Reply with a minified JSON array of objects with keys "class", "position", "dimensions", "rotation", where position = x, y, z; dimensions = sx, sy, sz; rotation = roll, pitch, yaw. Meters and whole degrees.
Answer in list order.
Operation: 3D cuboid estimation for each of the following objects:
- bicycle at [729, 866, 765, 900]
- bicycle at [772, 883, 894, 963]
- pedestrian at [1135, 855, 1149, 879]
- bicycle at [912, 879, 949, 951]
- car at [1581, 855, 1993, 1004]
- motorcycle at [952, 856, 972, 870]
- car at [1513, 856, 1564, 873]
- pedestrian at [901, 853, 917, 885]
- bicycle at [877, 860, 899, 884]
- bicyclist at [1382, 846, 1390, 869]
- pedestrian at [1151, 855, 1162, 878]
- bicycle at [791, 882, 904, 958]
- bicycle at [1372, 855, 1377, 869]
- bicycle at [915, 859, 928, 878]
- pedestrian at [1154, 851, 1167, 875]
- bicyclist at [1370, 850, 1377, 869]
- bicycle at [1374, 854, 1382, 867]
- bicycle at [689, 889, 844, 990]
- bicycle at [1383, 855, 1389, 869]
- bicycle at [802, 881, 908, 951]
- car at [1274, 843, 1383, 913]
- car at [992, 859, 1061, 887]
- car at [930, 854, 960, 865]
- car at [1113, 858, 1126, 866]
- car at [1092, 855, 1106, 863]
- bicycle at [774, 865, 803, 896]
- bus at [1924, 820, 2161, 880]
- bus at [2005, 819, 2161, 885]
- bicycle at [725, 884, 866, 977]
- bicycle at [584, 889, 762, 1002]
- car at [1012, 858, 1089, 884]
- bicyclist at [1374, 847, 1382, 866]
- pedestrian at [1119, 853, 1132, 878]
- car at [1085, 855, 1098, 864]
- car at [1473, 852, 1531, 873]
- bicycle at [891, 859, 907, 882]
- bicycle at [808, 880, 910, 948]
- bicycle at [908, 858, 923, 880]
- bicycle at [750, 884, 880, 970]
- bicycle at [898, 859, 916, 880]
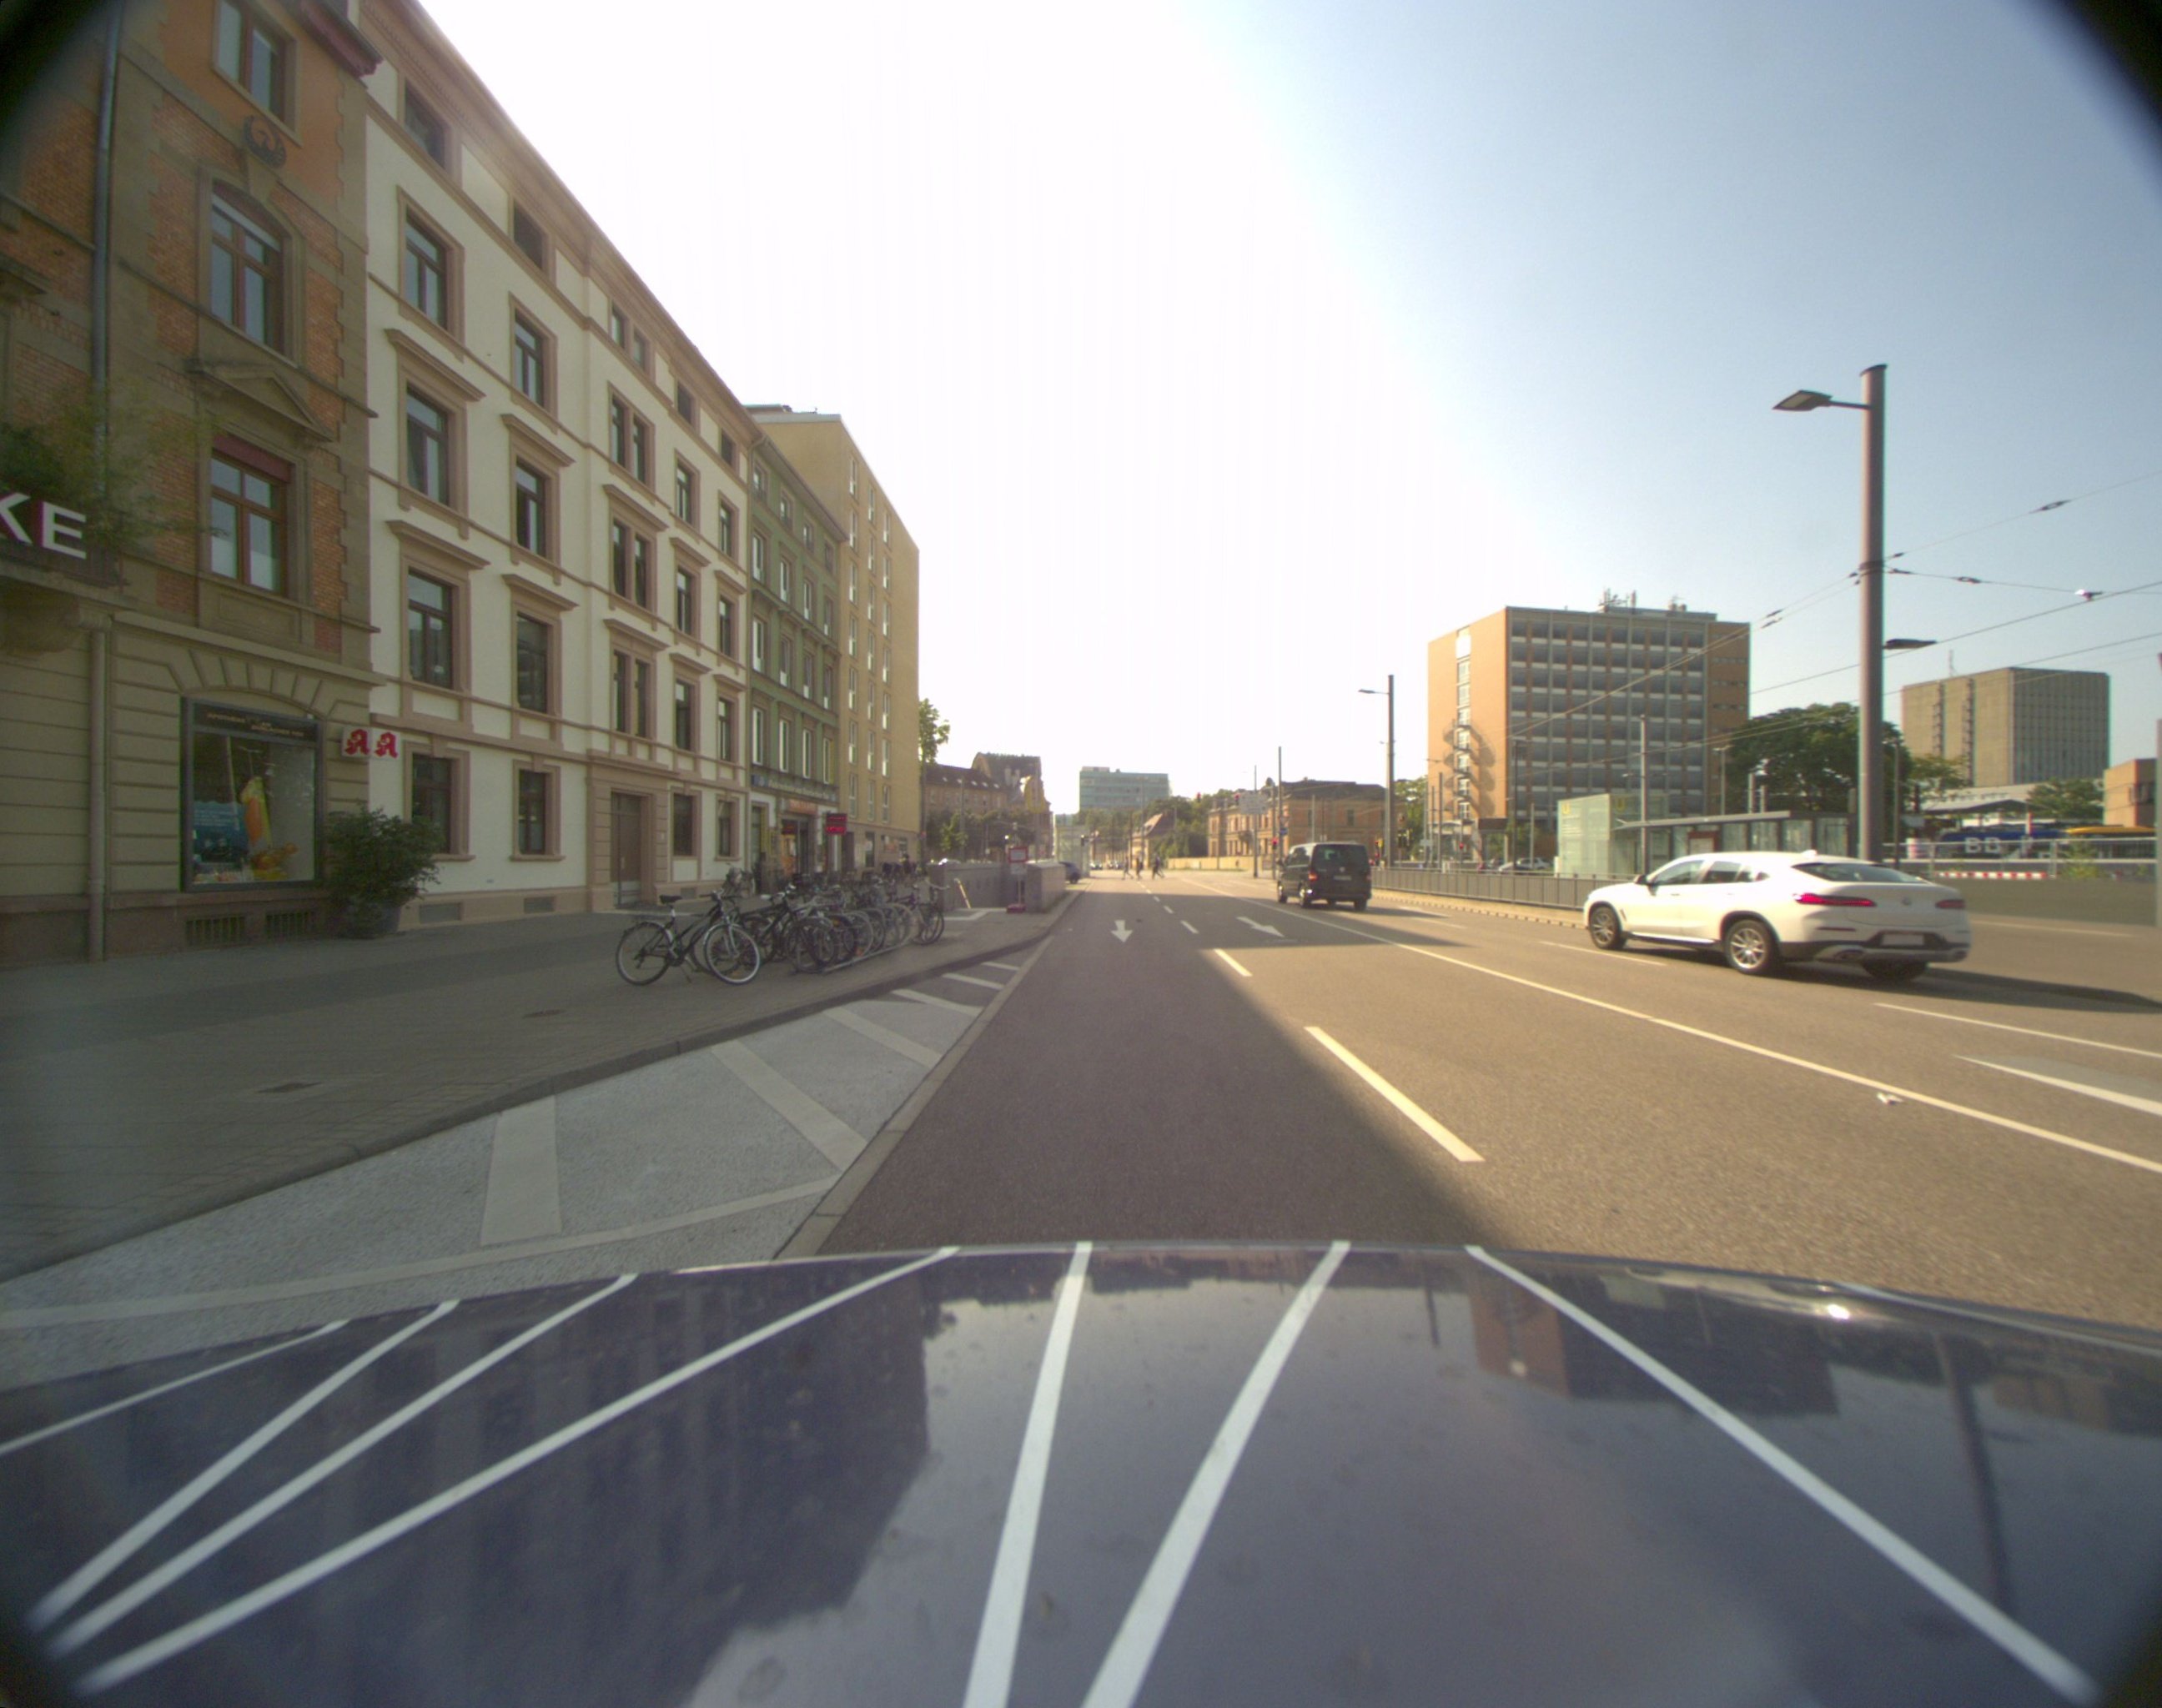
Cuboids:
[{"class":"bicycle","position":[-11.509,0.981,26.238],"dimensions":[0.384,1.127,1.720],"rotation":[0,0,3]},{"class":"bicycle","position":[-3.604,0.997,11.093],"dimensions":[1.637,1.142,0.385],"rotation":[0,1,-2]},{"class":"pedestrian","position":[4.098,0.878,51.039],"dimensions":[0.809,1.539,0.548],"rotation":[3,1,4]},{"class":"bicycle","position":[-2.640,1.039,13.444],"dimensions":[0.408,1.142,1.655],"rotation":[0,0,-3]},{"class":"car","position":[9.378,0.850,10.760],"dimensions":[1.717,1.602,4.505],"rotation":[1,0,2]},{"class":"motorcycle","position":[-9.921,0.783,63.536],"dimensions":[0.704,1.140,2.304],"rotation":[0,0,18]},{"class":"car","position":[47.849,1.114,79.534],"dimensions":[4.280,1.696,1.956],"rotation":[0,-2,19]},{"class":"pedestrian","position":[-8.827,0.763,39.037],"dimensions":[0.610,1.620,0.737],"rotation":[0,1,3]},{"class":"bicycle","position":[-10.518,0.981,41.409],"dimensions":[0.604,1.254,1.998],"rotation":[0,0,2]},{"class":"bicyclist","position":[26.980,0.307,67.172],"dimensions":[0.580,1.963,0.809],"rotation":[0,0,17]},{"class":"pedestrian","position":[5.272,0.876,53.042],"dimensions":[0.634,1.588,0.468],"rotation":[3,1,1]},{"class":"bicycle","position":[-3.610,1.009,11.793],"dimensions":[1.637,1.142,0.385],"rotation":[0,1,-2]},{"class":"bicycle","position":[25.993,0.702,67.363],"dimensions":[0.311,1.158,1.501],"rotation":[0,0,18]},{"class":"bicycle","position":[-10.437,0.944,49.809],"dimensions":[0.470,1.254,1.637],"rotation":[0,0,2]},{"class":"pedestrian","position":[5.916,0.666,56.583],"dimensions":[0.834,1.778,0.729],"rotation":[3,1,10]},{"class":"bicyclist","position":[25.949,0.479,67.367],"dimensions":[0.511,1.620,0.809],"rotation":[0,0,17]},{"class":"bicycle","position":[25.458,0.588,65.150],"dimensions":[0.402,1.103,1.748],"rotation":[0,0,13]},{"class":"bicycle","position":[-3.661,0.986,8.896],"dimensions":[1.637,1.142,0.385],"rotation":[0,1,-2]},{"class":"bicycle","position":[27.020,0.716,67.276],"dimensions":[0.376,1.158,1.862],"rotation":[0,0,18]},{"class":"bicycle","position":[-3.753,1.026,12.663],"dimensions":[1.637,1.142,0.385],"rotation":[0,1,-2]},{"class":"car","position":[7.524,0.663,23.628],"dimensions":[1.998,1.893,4.716],"rotation":[1,0,2]},{"class":"car","position":[-2.984,1.015,42.191],"dimensions":[3.535,1.455,1.618],"rotation":[-1,1,-39]},{"class":"car","position":[-17.757,0.698,98.926],"dimensions":[3.621,1.433,1.807],"rotation":[0,0,34]},{"class":"car","position":[6.325,1.261,125.146],"dimensions":[1.693,1.319,3.998],"rotation":[0,0,-5]},{"class":"car","position":[3.018,0.830,128.565],"dimensions":[1.927,1.368,3.998],"rotation":[0,0,-5]},{"class":"bicycle","position":[-11.519,1.029,29.952],"dimensions":[0.384,1.127,1.720],"rotation":[0,0,3]},{"class":"bus","position":[60.529,-0.233,45.537],"dimensions":[3.232,3.399,13.277],"rotation":[0,0,-44]},{"class":"bus","position":[54.707,-0.080,36.214],"dimensions":[3.232,3.160,13.277],"rotation":[0,0,-44]},{"class":"bicycle","position":[-3.625,0.970,9.710],"dimensions":[1.637,1.142,0.385],"rotation":[0,1,-2]},{"class":"bicycle","position":[-4.428,0.974,8.301],"dimensions":[1.636,1.142,0.602],"rotation":[0,1,4]},{"class":"car","position":[-1.788,0.986,45.790],"dimensions":[4.418,1.415,1.843],"rotation":[-1,1,-39]},{"class":"bicyclist","position":[25.453,0.214,65.119],"dimensions":[0.588,1.647,0.791],"rotation":[0,1,14]},{"class":"pedestrian","position":[3.131,0.811,53.730],"dimensions":[0.816,1.683,0.651],"rotation":[3,1,3]},{"class":"car","position":[1.838,0.964,138.978],"dimensions":[1.927,1.626,3.998],"rotation":[0,0,-5]},{"class":"car","position":[39.053,0.783,70.572],"dimensions":[4.563,1.841,2.003],"rotation":[0,1,24]},{"class":"bicycle","position":[-10.537,0.941,43.984],"dimensions":[0.604,1.254,1.996],"rotation":[0,0,-5]},{"class":"bicycle","position":[-3.831,1.032,13.155],"dimensions":[1.637,1.142,0.385],"rotation":[0,1,-2]},{"class":"bicycle","position":[-9.670,0.844,44.407],"dimensions":[0.604,1.254,1.996],"rotation":[0,0,-5]},{"class":"bicycle","position":[-3.628,0.985,10.417],"dimensions":[1.637,1.142,0.385],"rotation":[0,1,-2]},{"class":"bicycle","position":[-10.548,0.943,46.122],"dimensions":[0.604,1.254,1.849],"rotation":[0,0,2]}]
